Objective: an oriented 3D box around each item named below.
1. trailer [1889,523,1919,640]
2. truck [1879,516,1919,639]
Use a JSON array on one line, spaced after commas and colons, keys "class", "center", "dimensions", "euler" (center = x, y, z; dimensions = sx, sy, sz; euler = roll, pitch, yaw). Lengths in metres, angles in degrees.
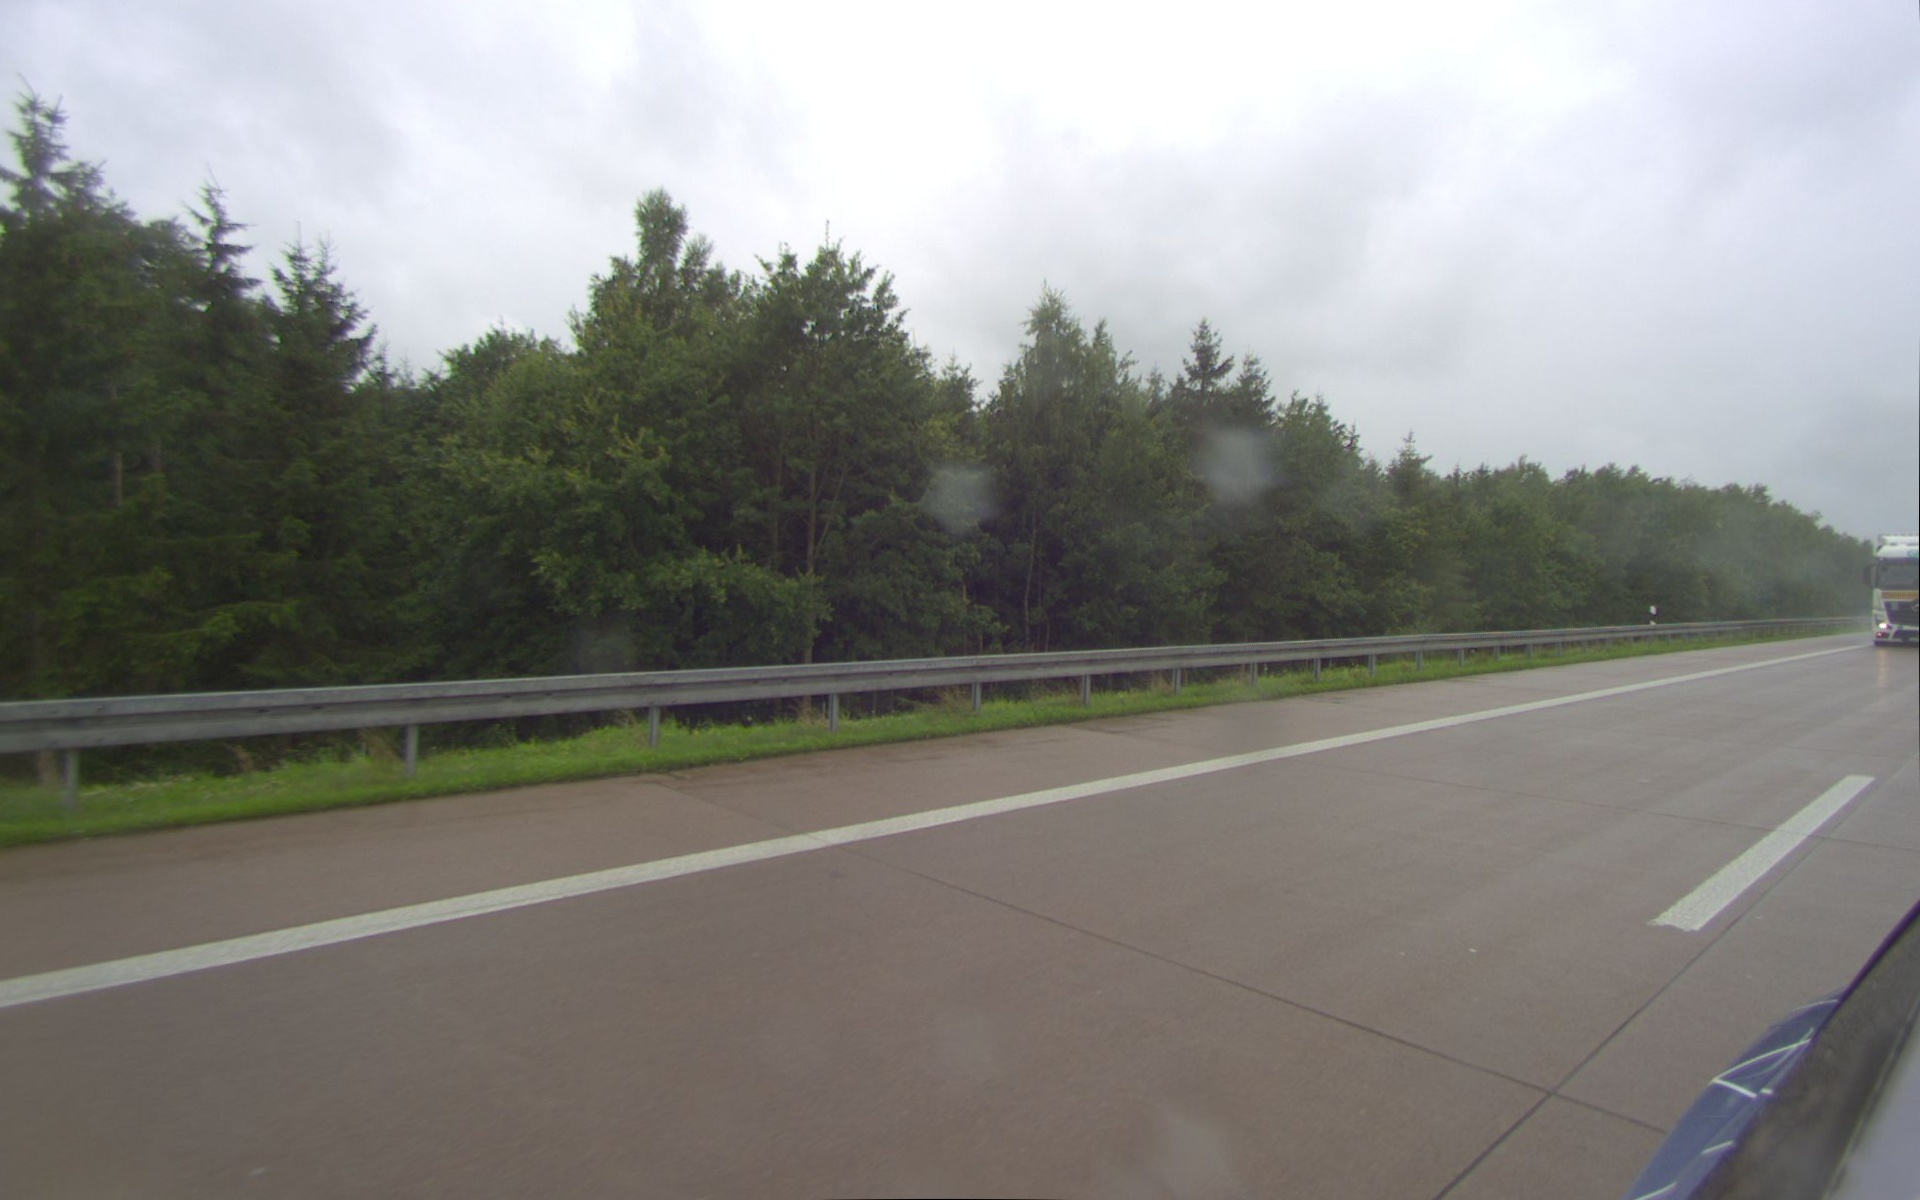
[{"class": "trailer", "center": [40.317, -0.519, 41.123], "dimensions": [12.911, 4.284, 2.856], "euler": [2, 1, -44]}, {"class": "truck", "center": [34.832, -0.677, 35.806], "dimensions": [6.242, 4.158, 2.884], "euler": [2, 1, -44]}]
